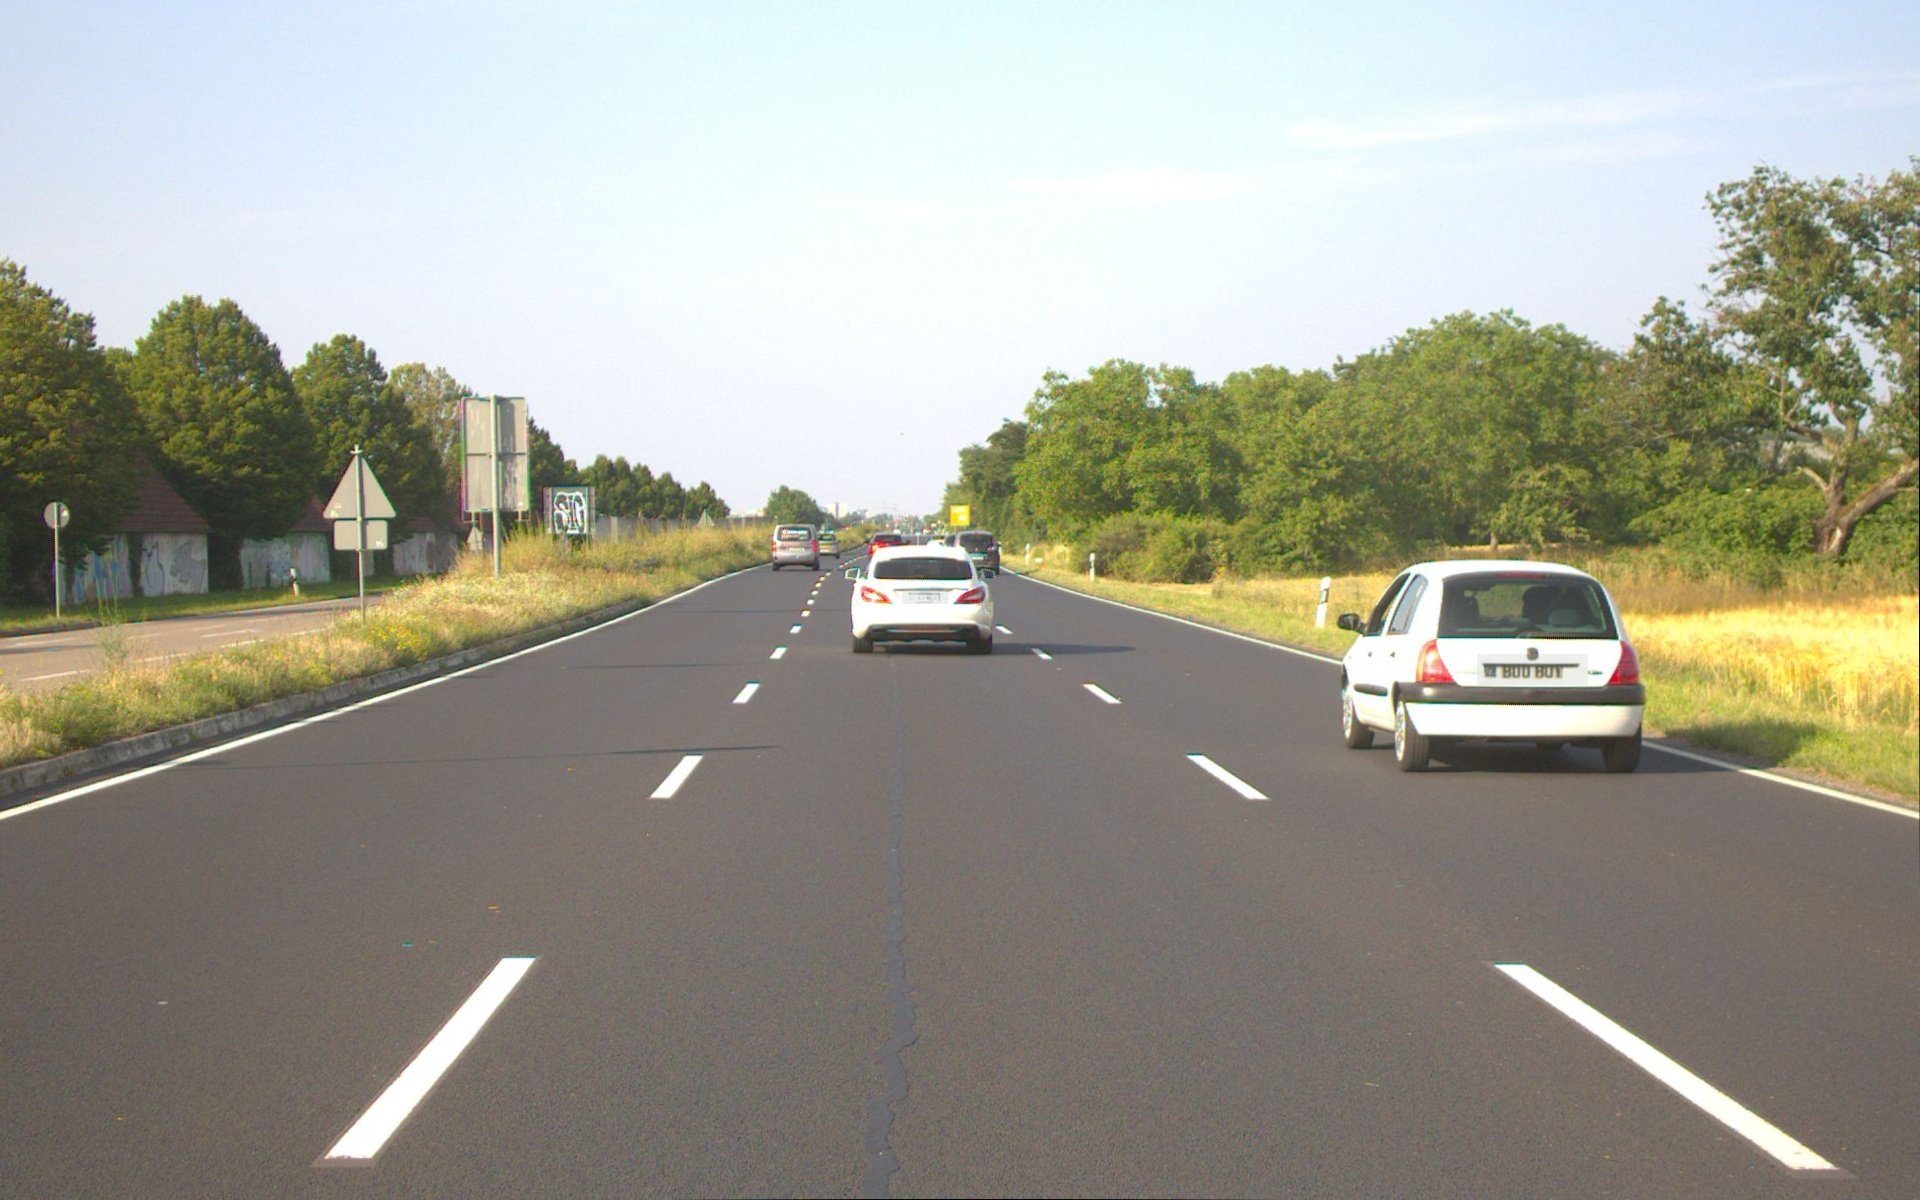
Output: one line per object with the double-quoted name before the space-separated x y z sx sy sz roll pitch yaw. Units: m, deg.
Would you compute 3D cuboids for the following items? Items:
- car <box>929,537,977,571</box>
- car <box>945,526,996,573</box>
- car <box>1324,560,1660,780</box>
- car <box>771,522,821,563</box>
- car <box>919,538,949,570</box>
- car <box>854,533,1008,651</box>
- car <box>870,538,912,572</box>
"car" -0.348 -2.175 164.805 1.993 1.579 4.285 1 0 -4
"car" 0.384 -1.882 129.516 1.828 1.722 4.000 1 0 -1
"car" 3.589 0.435 23.808 1.617 1.382 3.952 1 0 -1
"car" -6.644 -2.326 139.467 1.758 1.612 4.000 1 0 1
"car" -1.573 -2.793 208.698 1.803 1.897 3.559 1 0 0
"car" -0.403 -0.111 46.700 1.993 1.511 4.000 1 0 -1
"car" -3.065 -1.980 151.829 1.812 1.431 3.859 1 0 -2
